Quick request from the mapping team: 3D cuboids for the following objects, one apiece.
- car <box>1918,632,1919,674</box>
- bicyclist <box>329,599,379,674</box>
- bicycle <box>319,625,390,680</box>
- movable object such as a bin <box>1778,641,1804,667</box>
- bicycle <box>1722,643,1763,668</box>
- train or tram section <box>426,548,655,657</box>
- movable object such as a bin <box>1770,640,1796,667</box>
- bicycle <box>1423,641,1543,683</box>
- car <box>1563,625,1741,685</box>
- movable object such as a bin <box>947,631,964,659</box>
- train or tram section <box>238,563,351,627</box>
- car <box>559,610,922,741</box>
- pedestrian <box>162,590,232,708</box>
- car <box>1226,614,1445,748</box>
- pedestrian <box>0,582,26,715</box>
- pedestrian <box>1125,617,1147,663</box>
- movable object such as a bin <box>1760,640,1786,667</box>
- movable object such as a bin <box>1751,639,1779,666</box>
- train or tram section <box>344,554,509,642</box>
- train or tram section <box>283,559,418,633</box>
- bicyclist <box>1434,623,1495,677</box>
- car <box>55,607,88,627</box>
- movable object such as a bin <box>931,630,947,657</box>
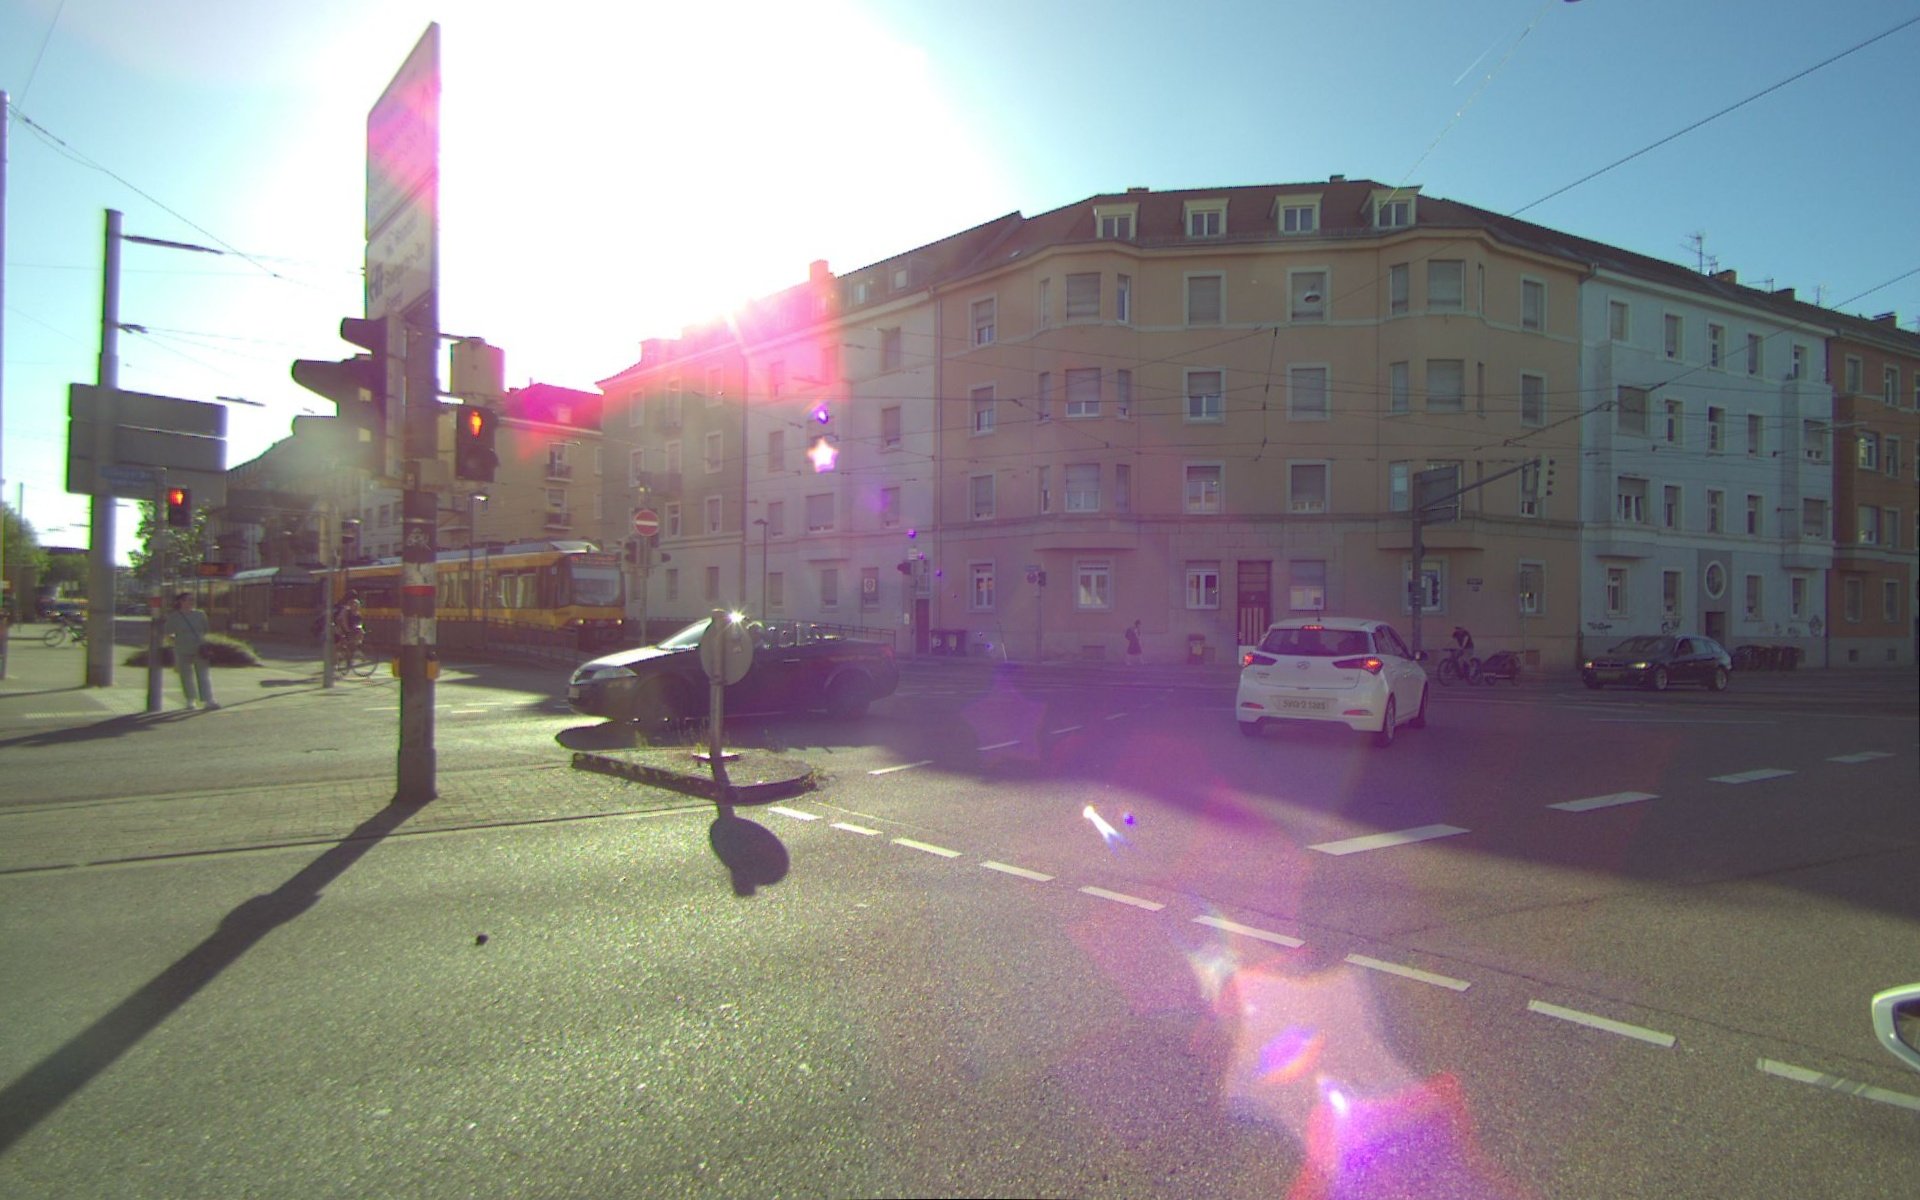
[{"bbox_3d":[35.876,1.884,35.246,4.439,1.474,1.916,1,-1,-27],"label":"car"},{"bbox_3d":[-13.945,0.823,23.097,0.925,1.661,0.675,1,0,38],"label":"bicyclist"},{"bbox_3d":[-13.907,1.173,23.050,2.041,1.151,0.683,1,0,38],"label":"bicycle"},{"bbox_3d":[35.780,2.317,43.248,0.575,1.121,0.700,1,-1,-26],"label":"movable object such as a bin"},{"bbox_3d":[32.604,2.322,41.835,1.852,0.993,0.603,2,0,-26],"label":"bicycle"},{"bbox_3d":[-15.388,0.129,36.070,11.653,3.365,3.149,0,-1,44],"label":"train or tram section"},{"bbox_3d":[35.221,2.278,42.988,0.575,1.121,0.700,1,-1,-26],"label":"movable object such as a bin"},{"bbox_3d":[14.059,1.647,26.958,3.304,1.070,0.932,1,-1,-22],"label":"bicycle"},{"bbox_3d":[17.949,1.387,26.035,4.504,1.411,1.986,1,-1,-28],"label":"car"},{"bbox_3d":[-0.185,1.754,39.276,0.444,1.046,0.480,0,-1,43],"label":"movable object such as a bin"},{"bbox_3d":[-38.804,-0.317,58.346,10.697,3.401,3.148,1,0,43],"label":"train or tram section"},{"bbox_3d":[-2.786,0.889,13.123,4.283,1.444,1.812,1,-1,-35],"label":"car"},{"bbox_3d":[-11.038,0.699,14.544,0.479,1.661,0.626,0,-1,16],"label":"pedestrian"},{"bbox_3d":[4.961,0.916,12.908,1.762,1.412,4.094,0,-1,34],"label":"car"},{"bbox_3d":[-12.213,0.601,12.531,0.504,1.661,0.626,0,-1,16],"label":"pedestrian"},{"bbox_3d":[6.090,1.384,34.815,0.705,1.584,0.678,0,-1,9],"label":"pedestrian"},{"bbox_3d":[34.629,2.257,42.774,0.575,1.121,0.700,1,-1,-25],"label":"movable object such as a bin"},{"bbox_3d":[34.055,2.215,42.496,0.640,1.121,0.700,1,-1,-26],"label":"movable object such as a bin"},{"bbox_3d":[-23.430,-0.086,43.724,10.531,3.401,3.148,1,0,43],"label":"train or tram section"},{"bbox_3d":[-31.116,-0.202,50.995,10.697,3.401,3.148,1,0,43],"label":"train or tram section"},{"bbox_3d":[13.401,1.308,26.680,1.131,1.400,0.932,1,-1,-21],"label":"bicyclist"},{"bbox_3d":[-82.522,1.564,93.288,4.312,1.840,1.988,-1,-1,44],"label":"car"},{"bbox_3d":[-0.834,1.717,39.877,0.444,1.079,0.480,0,-1,43],"label":"movable object such as a bin"}]
